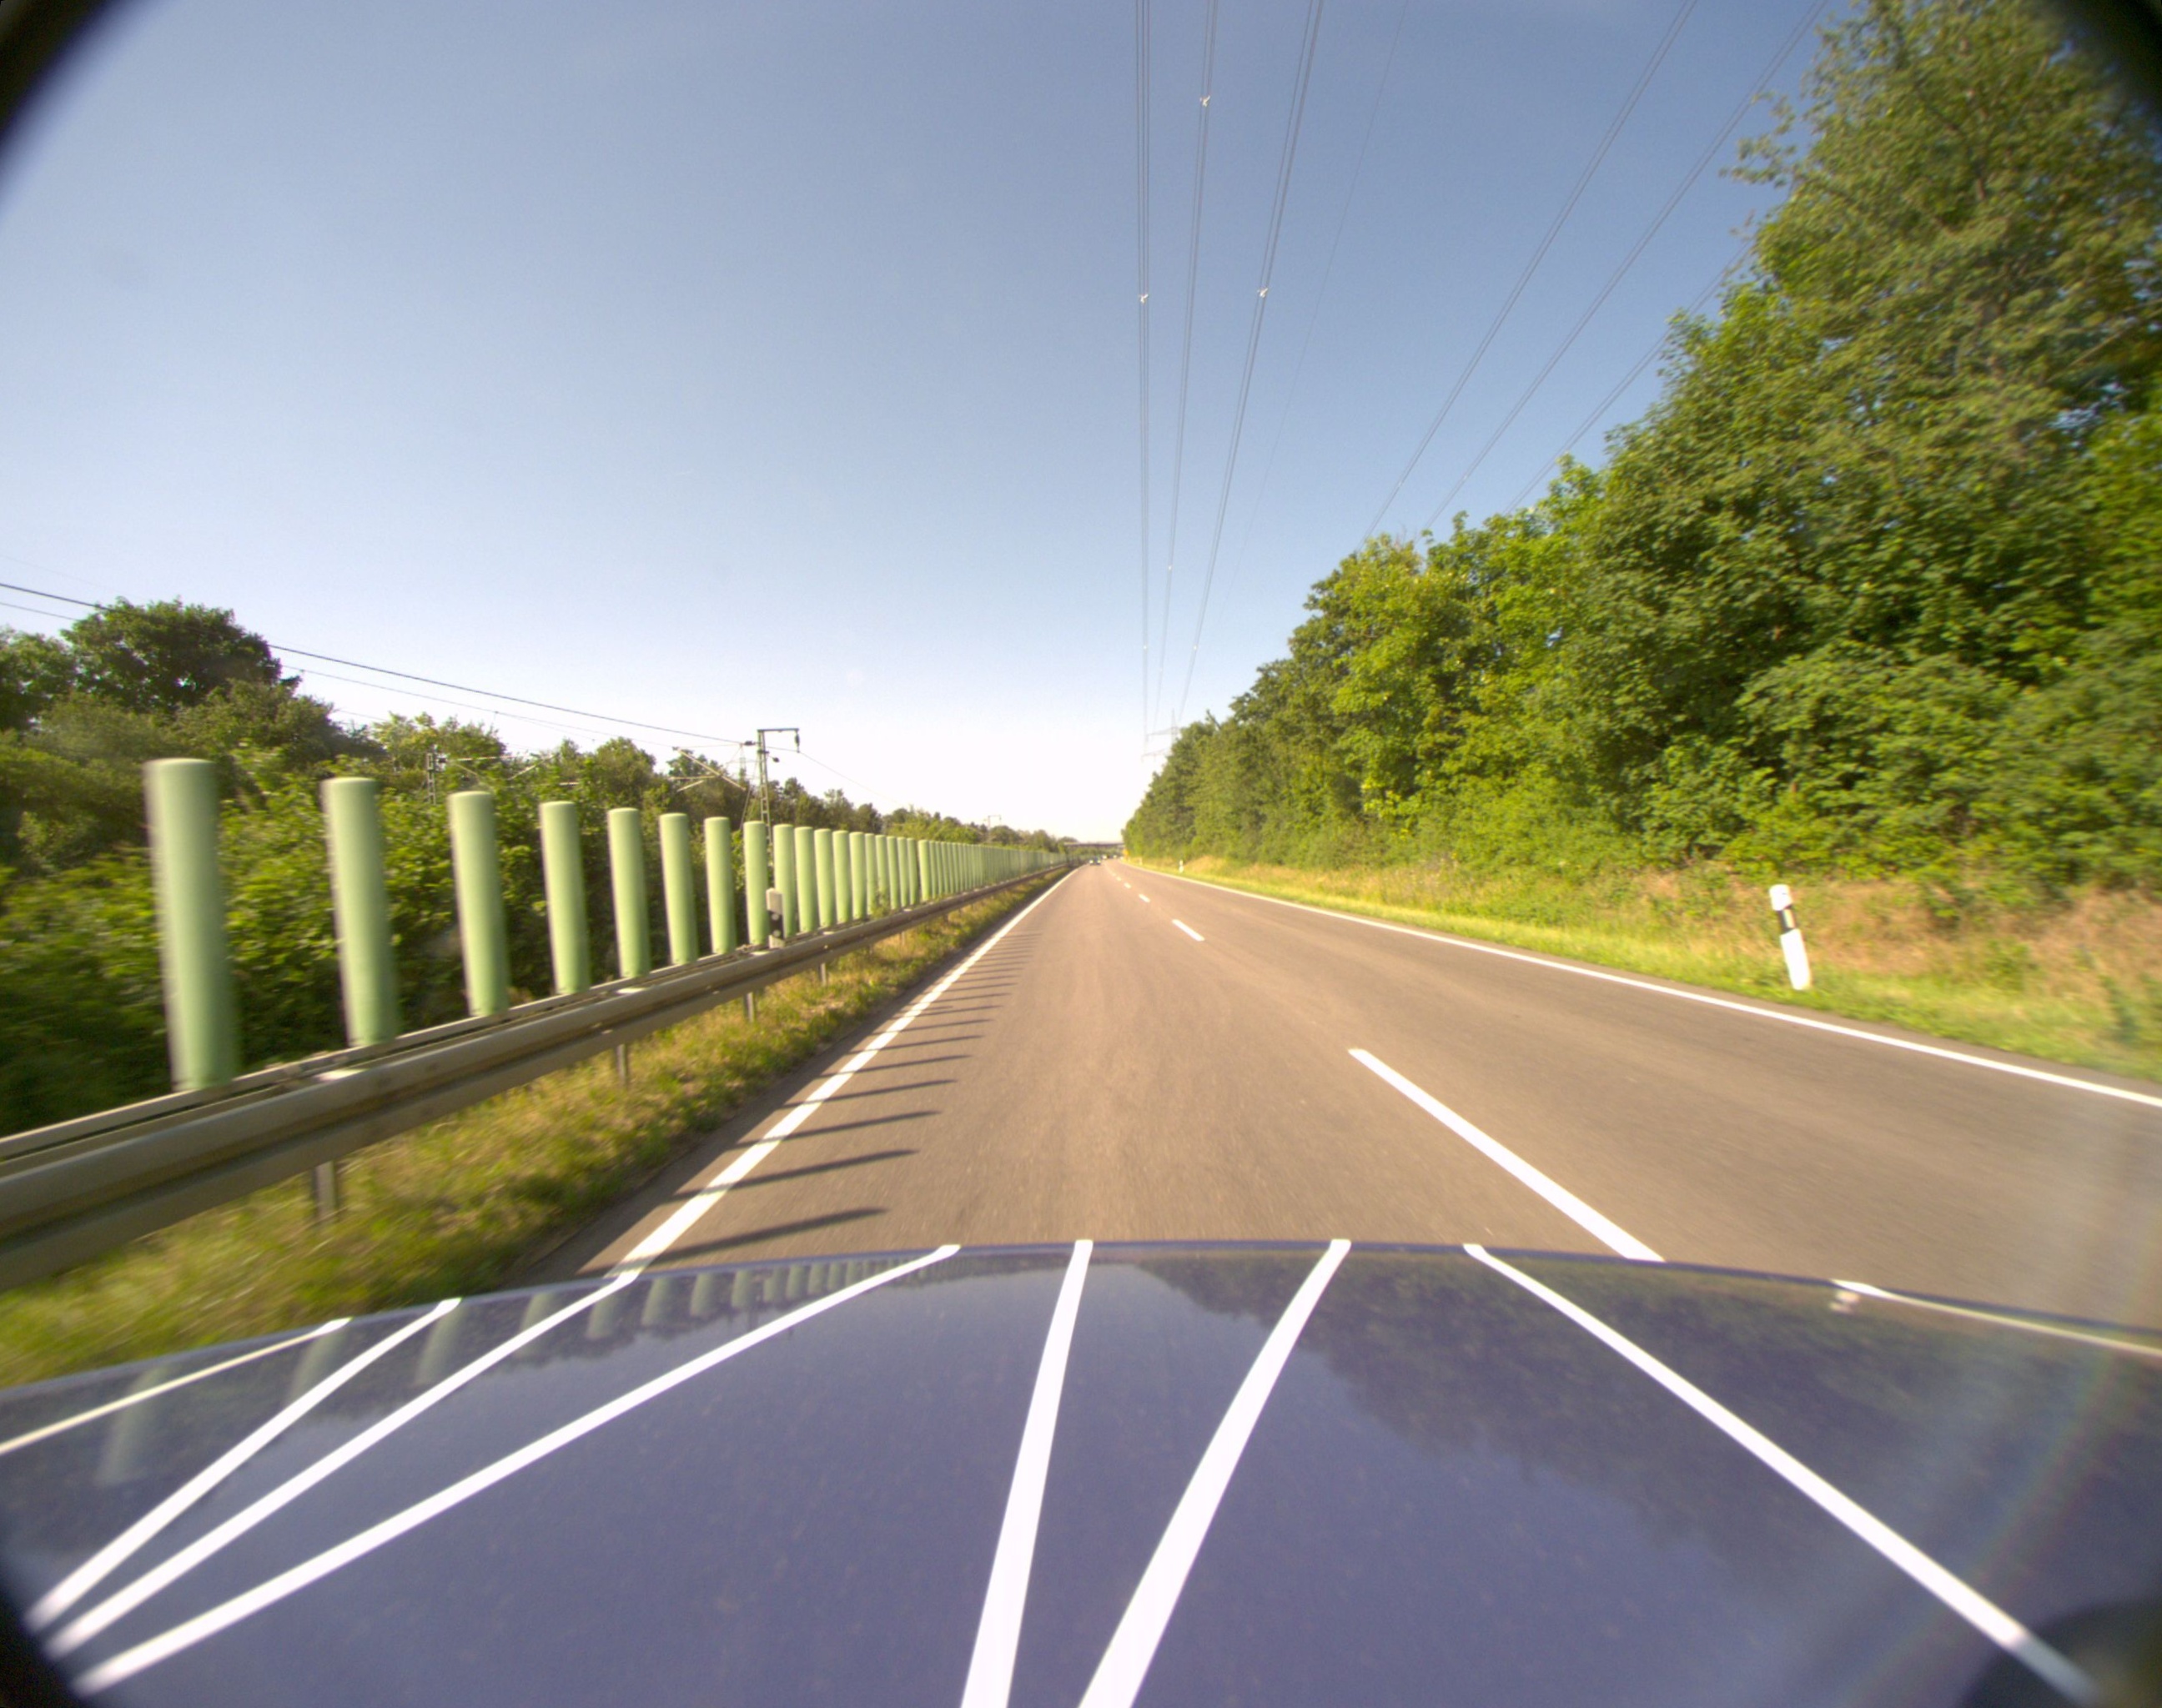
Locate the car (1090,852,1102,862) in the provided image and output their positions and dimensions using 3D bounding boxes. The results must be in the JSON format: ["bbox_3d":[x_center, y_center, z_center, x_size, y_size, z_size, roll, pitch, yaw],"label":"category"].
[{"bbox_3d":[2.517,0.458,127.600,1.787,1.550,4.001,-1,0,2],"label":"car"}]
